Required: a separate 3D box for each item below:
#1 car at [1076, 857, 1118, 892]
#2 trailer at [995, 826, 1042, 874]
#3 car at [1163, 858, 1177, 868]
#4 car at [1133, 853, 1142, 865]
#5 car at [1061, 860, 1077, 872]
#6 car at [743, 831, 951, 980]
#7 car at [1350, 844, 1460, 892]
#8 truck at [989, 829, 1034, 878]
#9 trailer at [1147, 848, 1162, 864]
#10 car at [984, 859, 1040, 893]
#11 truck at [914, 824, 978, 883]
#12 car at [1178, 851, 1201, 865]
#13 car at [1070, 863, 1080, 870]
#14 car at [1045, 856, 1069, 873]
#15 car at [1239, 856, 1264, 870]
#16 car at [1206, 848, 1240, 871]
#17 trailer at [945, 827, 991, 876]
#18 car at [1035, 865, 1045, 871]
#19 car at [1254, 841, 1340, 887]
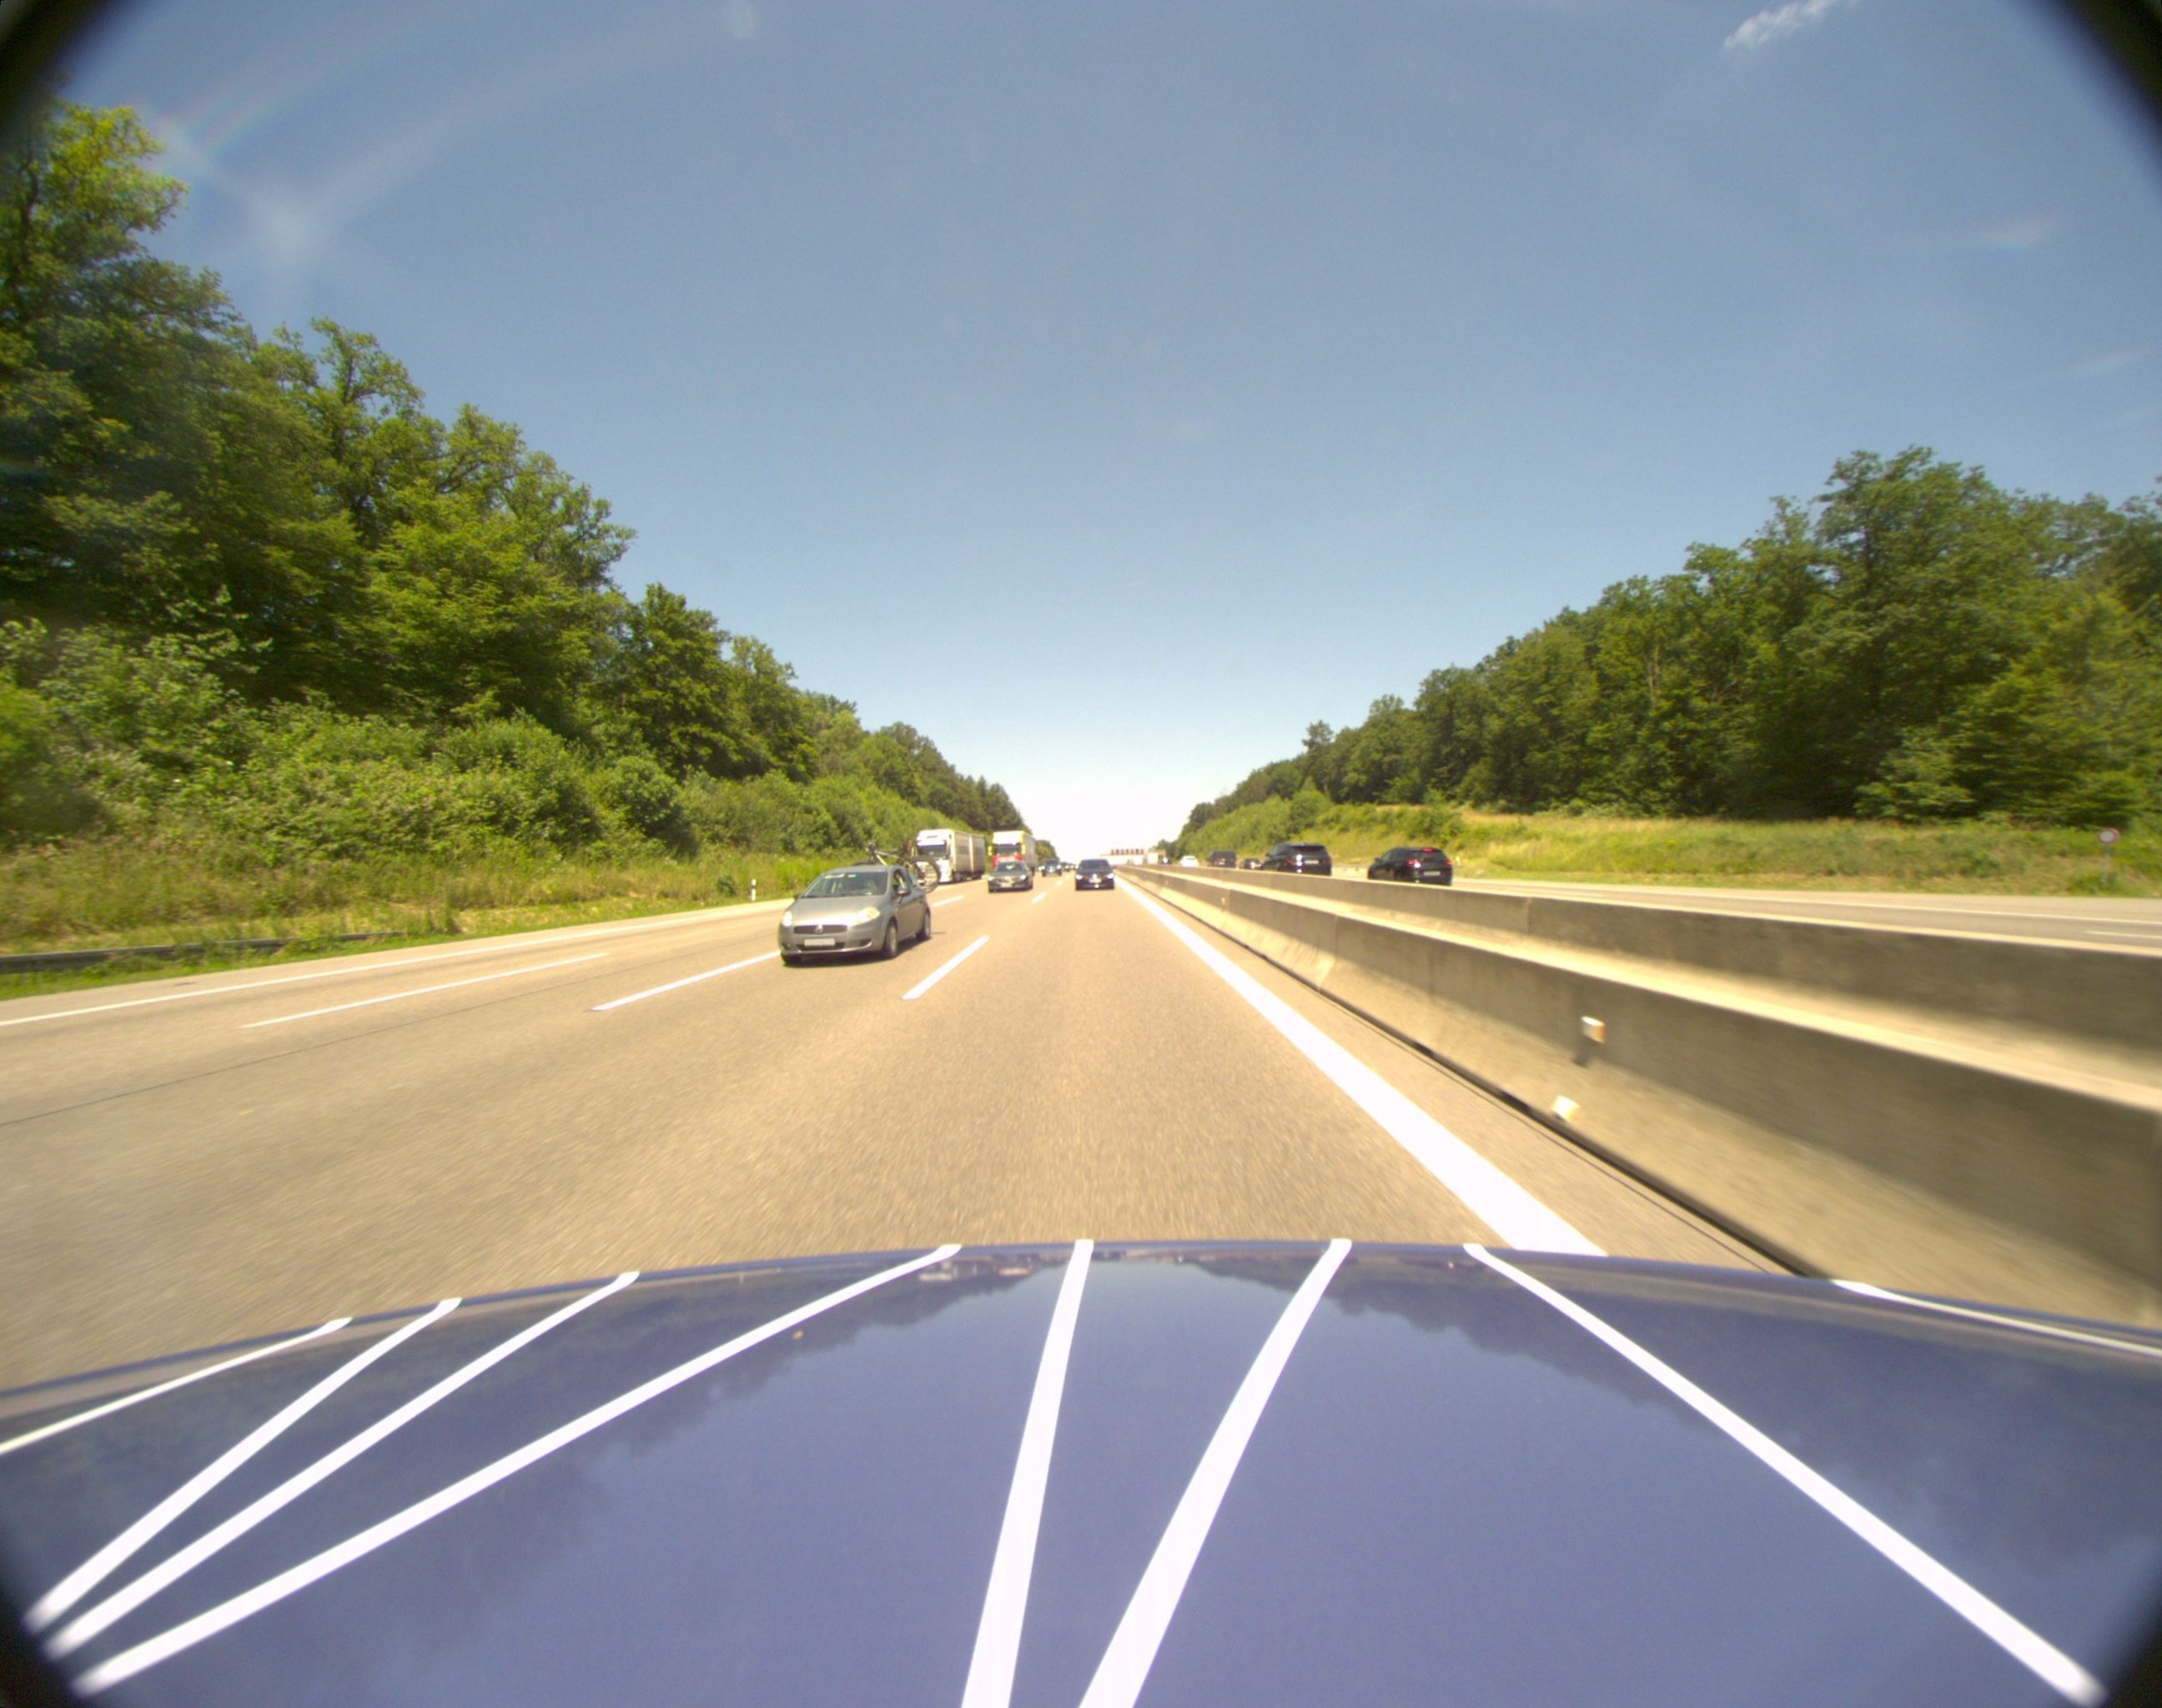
[{"bbox_3d":[0.723,0.916,35.255,1.777,1.425,4.144,-3,-1,1],"label":"car"},{"bbox_3d":[-5.807,-0.199,73.521,2.926,4.118,14.851,-1,-1,1],"label":"trailer"},{"bbox_3d":[13.456,1.382,115.199,1.805,1.539,4.729,0,0,1],"label":"car"},{"bbox_3d":[14.150,1.221,191.075,2.090,2.783,7.604,-1,0,2],"label":"car"},{"bbox_3d":[-1.635,1.661,105.744,1.910,1.503,4.160,-3,-1,2],"label":"car"},{"bbox_3d":[-3.734,0.729,13.199,1.966,2.041,4.784,-3,0,1],"label":"car"},{"bbox_3d":[12.279,0.500,29.268,1.998,1.665,5.280,1,0,0],"label":"car"},{"bbox_3d":[-5.986,0.058,66.683,3.018,3.957,7.541,-2,-1,1],"label":"truck"},{"bbox_3d":[18.626,0.524,193.208,2.932,4.060,13.843,-1,0,3],"label":"trailer"},{"bbox_3d":[-3.271,1.029,37.151,1.971,1.444,5.225,-3,0,3],"label":"car"},{"bbox_3d":[-10.368,0.016,59.636,2.728,4.136,10.971,-3,-1,1],"label":"truck"},{"bbox_3d":[12.630,0.451,88.911,1.998,1.659,4.930,-1,0,0],"label":"car"},{"bbox_3d":[-1.082,2.293,141.175,1.715,1.308,3.491,0,0,1],"label":"car"},{"bbox_3d":[-2.259,0.960,72.343,1.910,1.503,4.160,-3,-1,2],"label":"car"},{"bbox_3d":[16.529,0.901,73.691,1.491,1.297,4.300,1,0,1],"label":"car"},{"bbox_3d":[12.513,0.458,67.176,1.999,2.002,4.811,-1,0,-1],"label":"car"},{"bbox_3d":[-10.102,-0.194,68.949,2.585,4.045,8.384,-3,0,1],"label":"trailer"},{"bbox_3d":[-9.292,3.190,173.325,1.910,1.503,4.160,-1,-1,0],"label":"car"},{"bbox_3d":[8.691,0.368,31.058,1.998,1.663,5.280,1,0,0],"label":"car"}]
